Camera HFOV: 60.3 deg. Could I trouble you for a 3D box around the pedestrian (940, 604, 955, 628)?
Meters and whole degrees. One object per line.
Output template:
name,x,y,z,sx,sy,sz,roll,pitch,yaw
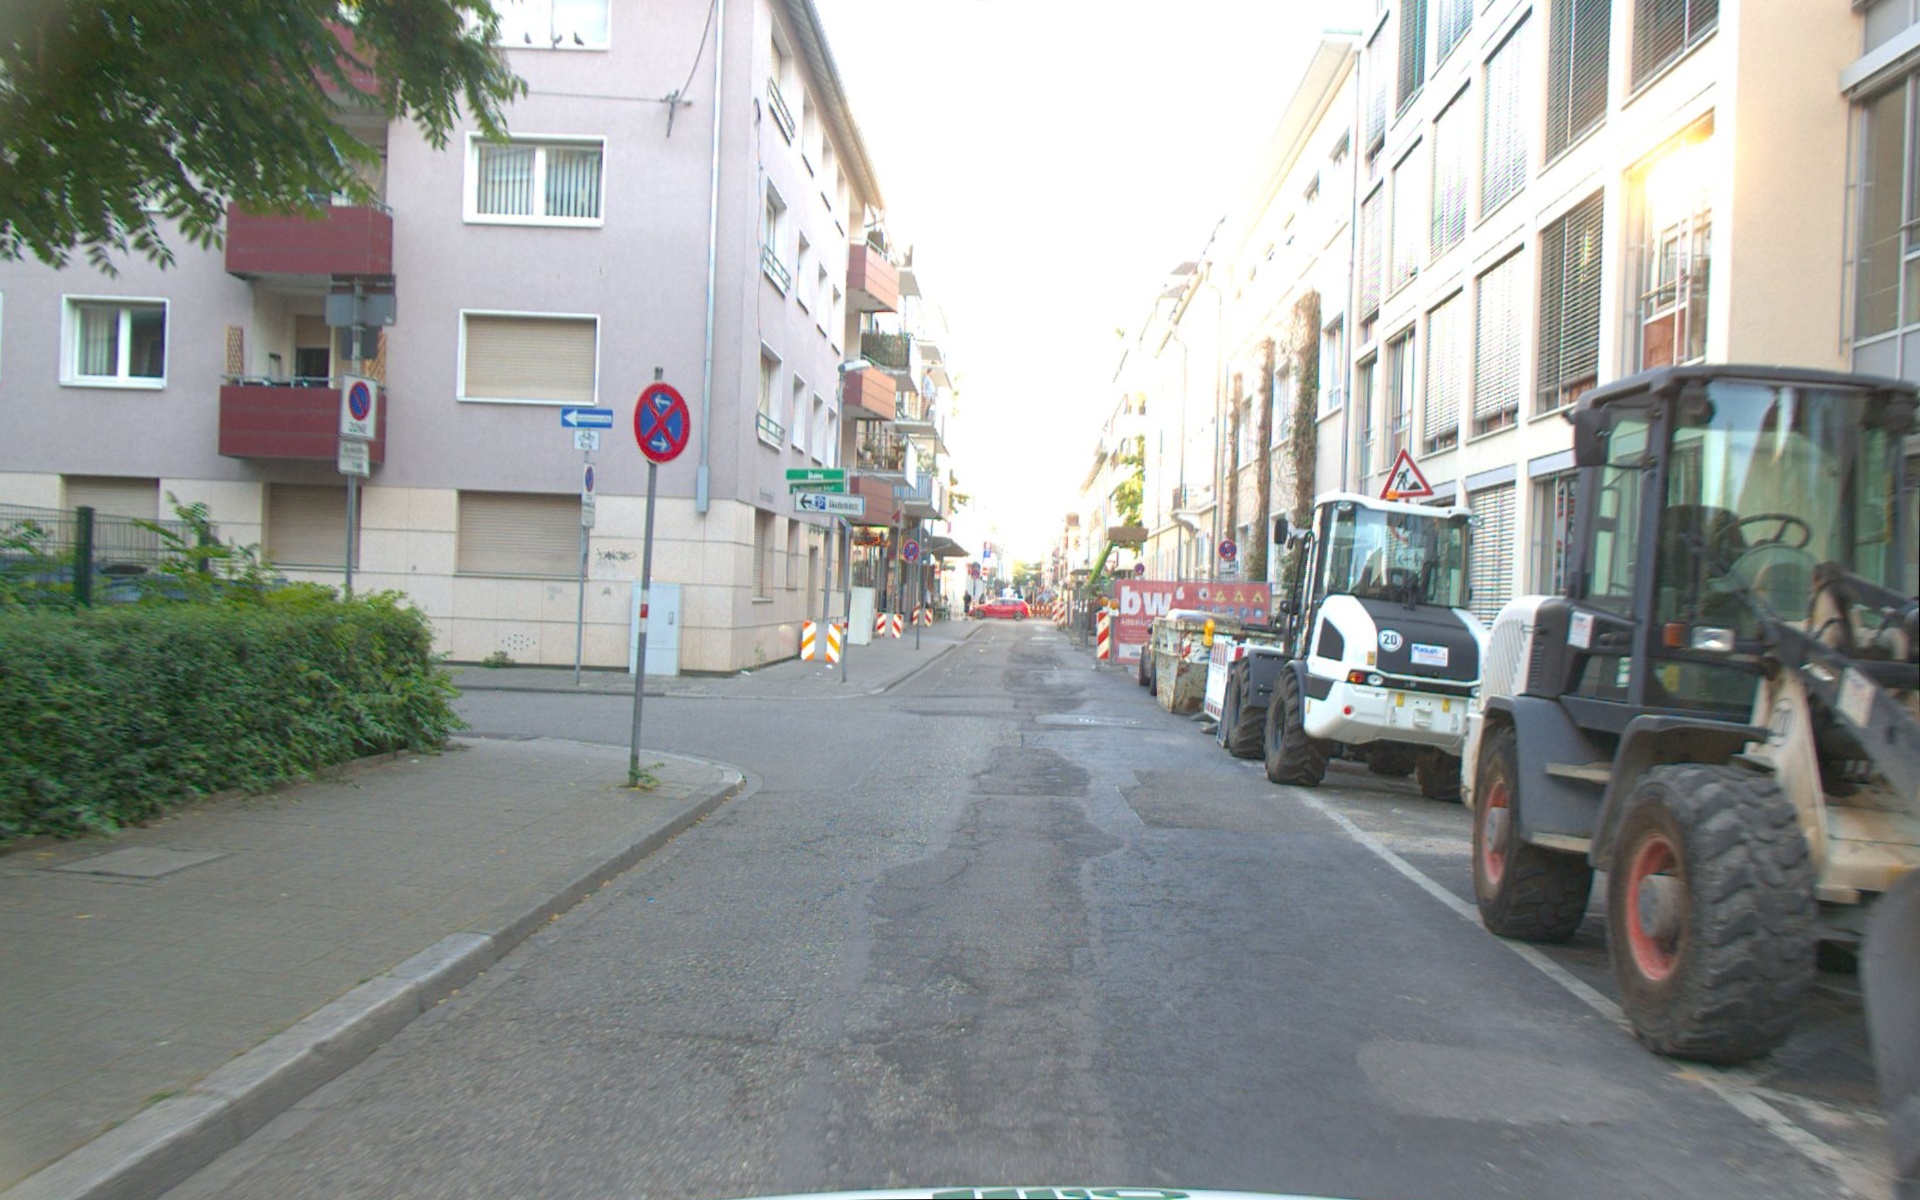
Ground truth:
pedestrian,-0.681,0.872,89.930,0.687,1.297,0.714,3,0,2

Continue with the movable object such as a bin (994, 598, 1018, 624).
movable object such as a bin,3.882,0.923,139.000,1.952,2.049,4.001,1,0,3

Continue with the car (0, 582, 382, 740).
car,-8.669,0.618,17.710,4.281,1.508,1.727,2,-1,0

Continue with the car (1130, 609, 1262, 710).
car,4.050,0.973,29.014,1.750,1.497,4.447,4,0,2

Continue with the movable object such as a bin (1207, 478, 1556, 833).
movable object such as a bin,3.760,0.417,15.948,1.974,2.668,5.753,4,0,3

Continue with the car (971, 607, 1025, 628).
car,2.435,1.156,107.083,3.438,1.298,1.474,1,0,0

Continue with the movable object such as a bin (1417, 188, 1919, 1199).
movable object such as a bin,3.498,0.343,6.358,1.974,2.669,5.752,4,0,3

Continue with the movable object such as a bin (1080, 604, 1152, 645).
movable object such as a bin,7.039,1.081,75.375,2.679,1.667,7.553,2,0,1

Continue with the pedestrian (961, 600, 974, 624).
pedestrian,0.423,0.681,94.085,0.687,1.298,0.714,2,0,2

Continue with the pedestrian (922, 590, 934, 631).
pedestrian,-1.494,0.491,77.363,0.520,1.866,0.562,1,0,-4

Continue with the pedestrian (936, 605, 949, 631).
pedestrian,-0.915,0.953,87.727,0.561,1.297,0.714,3,0,2

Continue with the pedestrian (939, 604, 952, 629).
pedestrian,-0.766,0.893,89.051,0.561,1.297,0.714,4,0,2

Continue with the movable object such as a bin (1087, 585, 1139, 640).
movable object such as a bin,8.291,0.671,89.801,2.550,2.889,4.451,1,0,2

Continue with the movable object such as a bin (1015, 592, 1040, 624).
movable object such as a bin,6.055,0.716,149.006,2.112,2.710,4.573,2,0,2
